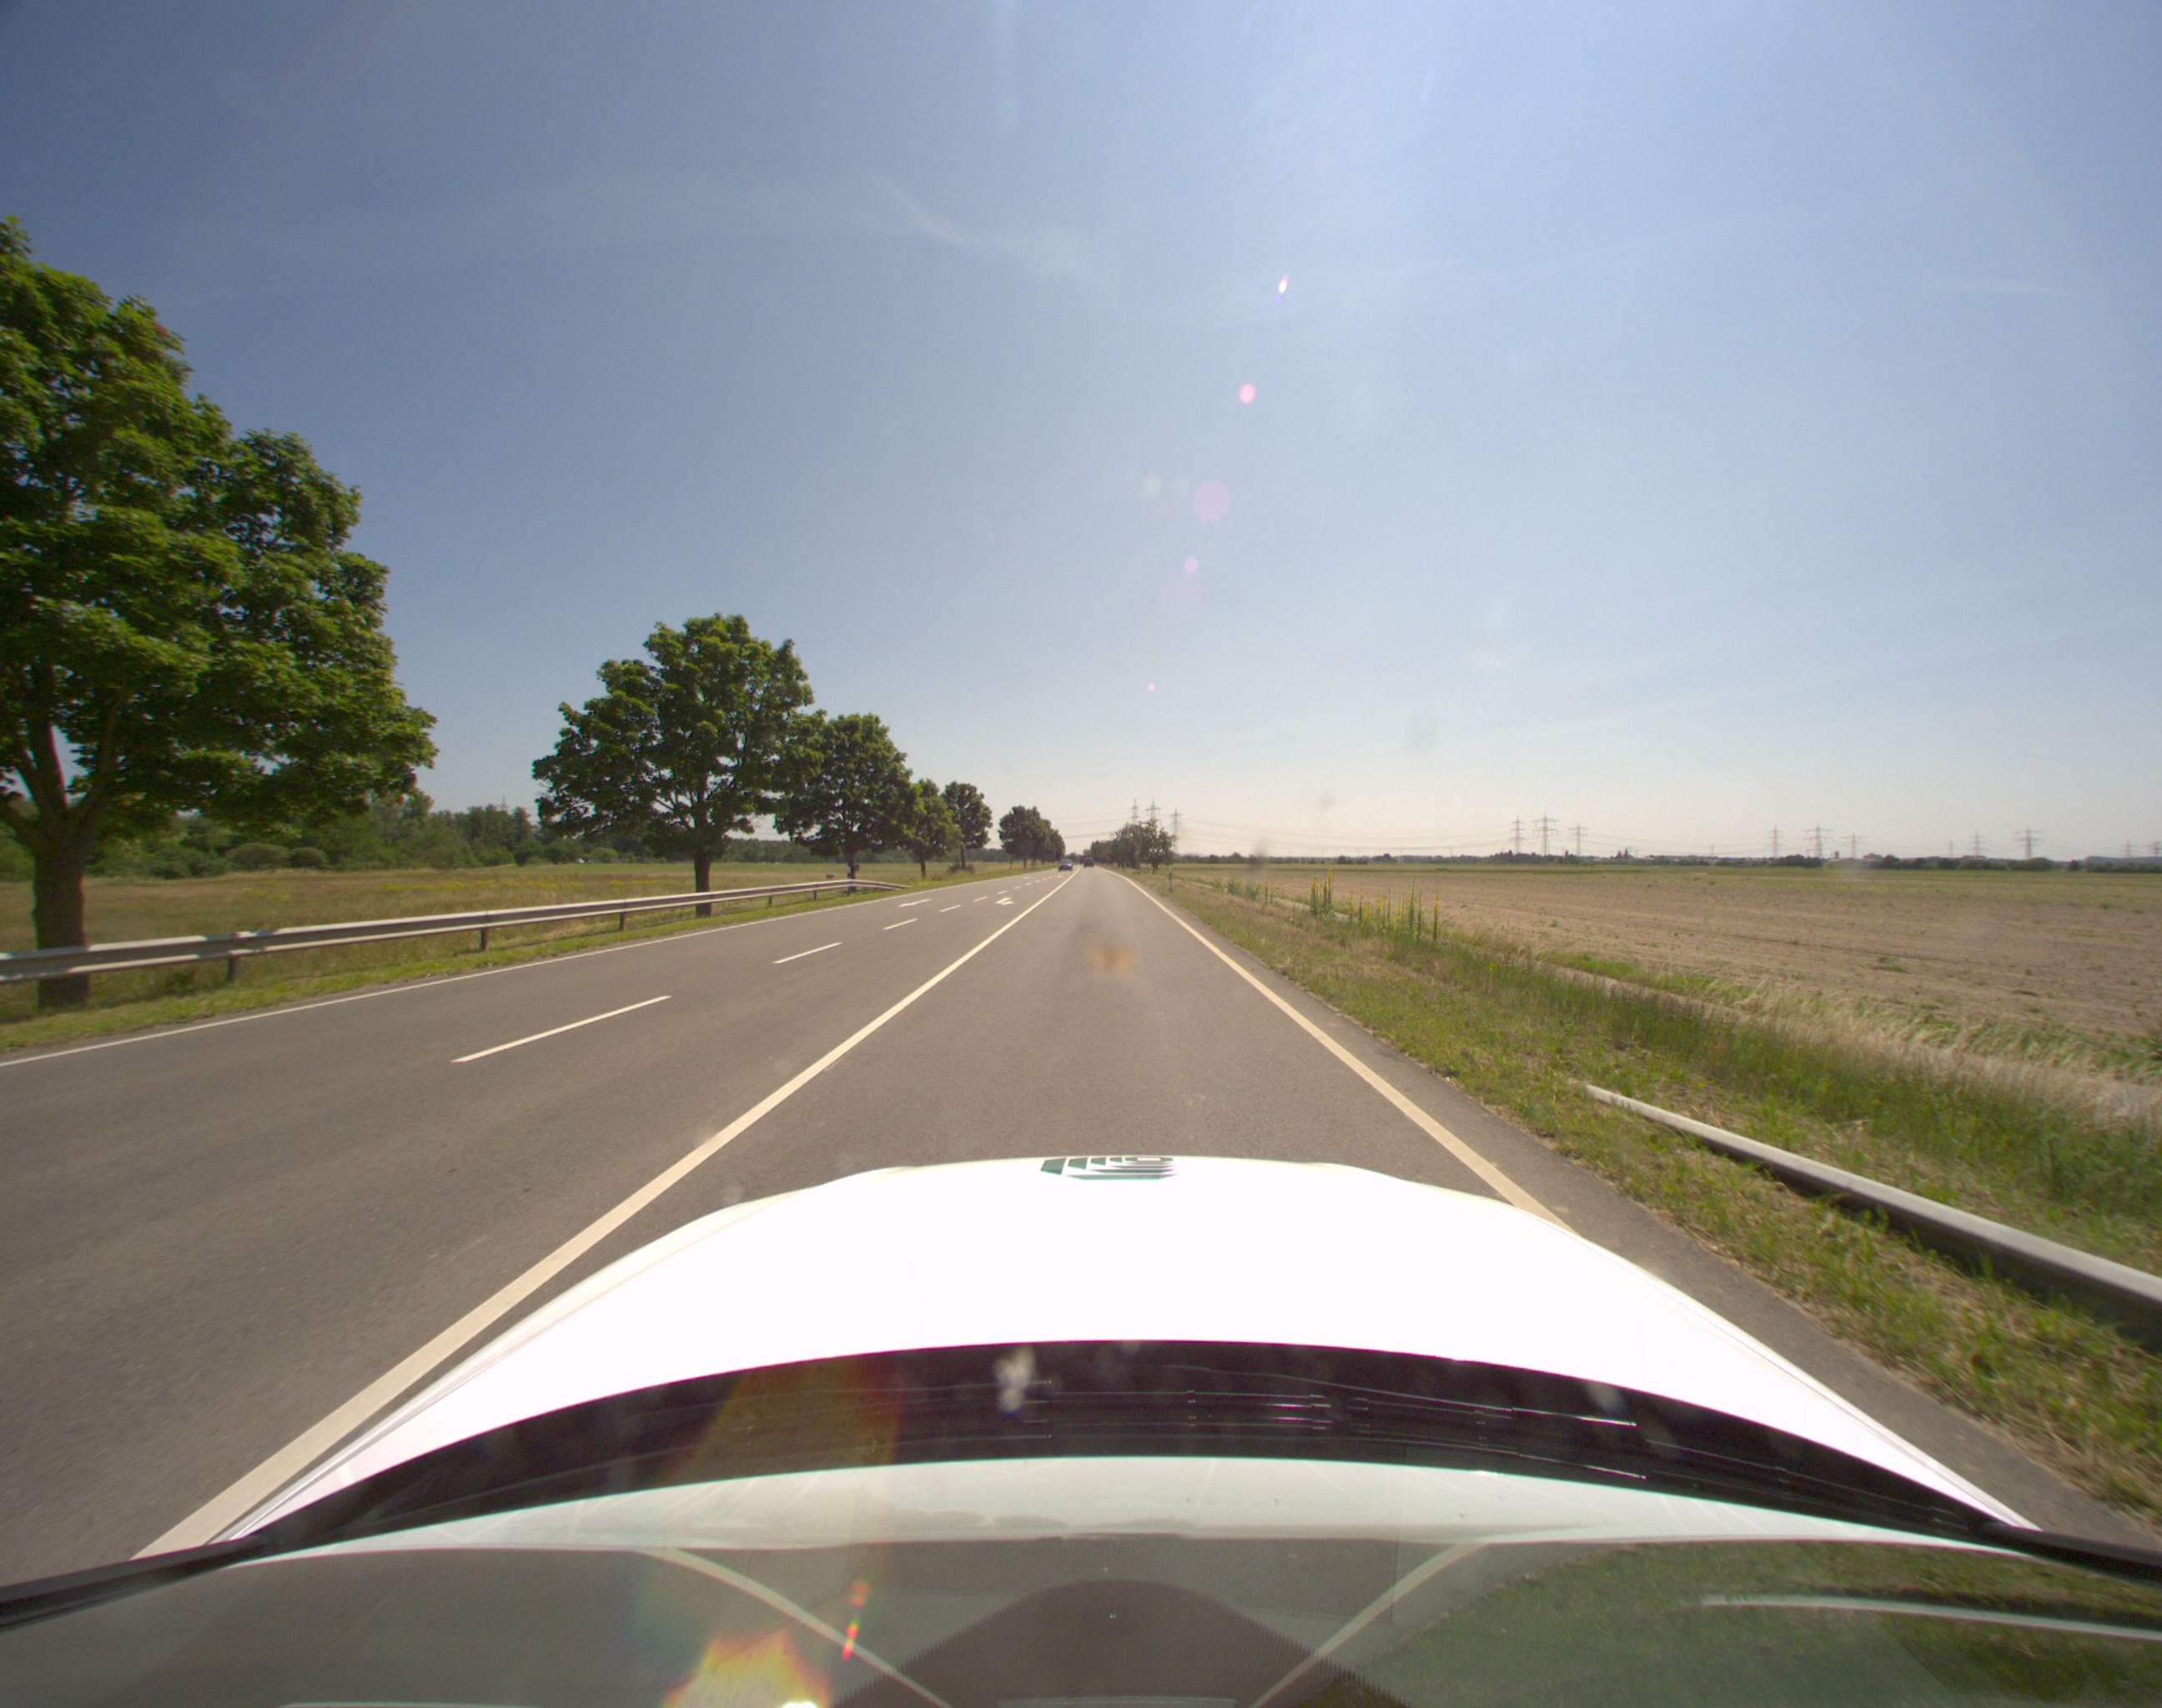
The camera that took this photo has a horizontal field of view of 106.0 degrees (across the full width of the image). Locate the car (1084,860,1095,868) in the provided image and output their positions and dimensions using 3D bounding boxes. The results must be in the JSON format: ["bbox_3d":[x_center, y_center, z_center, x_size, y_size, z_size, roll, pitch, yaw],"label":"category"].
[{"bbox_3d":[1.517,1.869,151.037,1.879,1.518,4.038,2,0,0],"label":"car"}]

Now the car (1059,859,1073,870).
[{"bbox_3d":[-1.965,1.345,105.693,1.734,1.473,4.617,-1,0,0],"label":"car"}]
